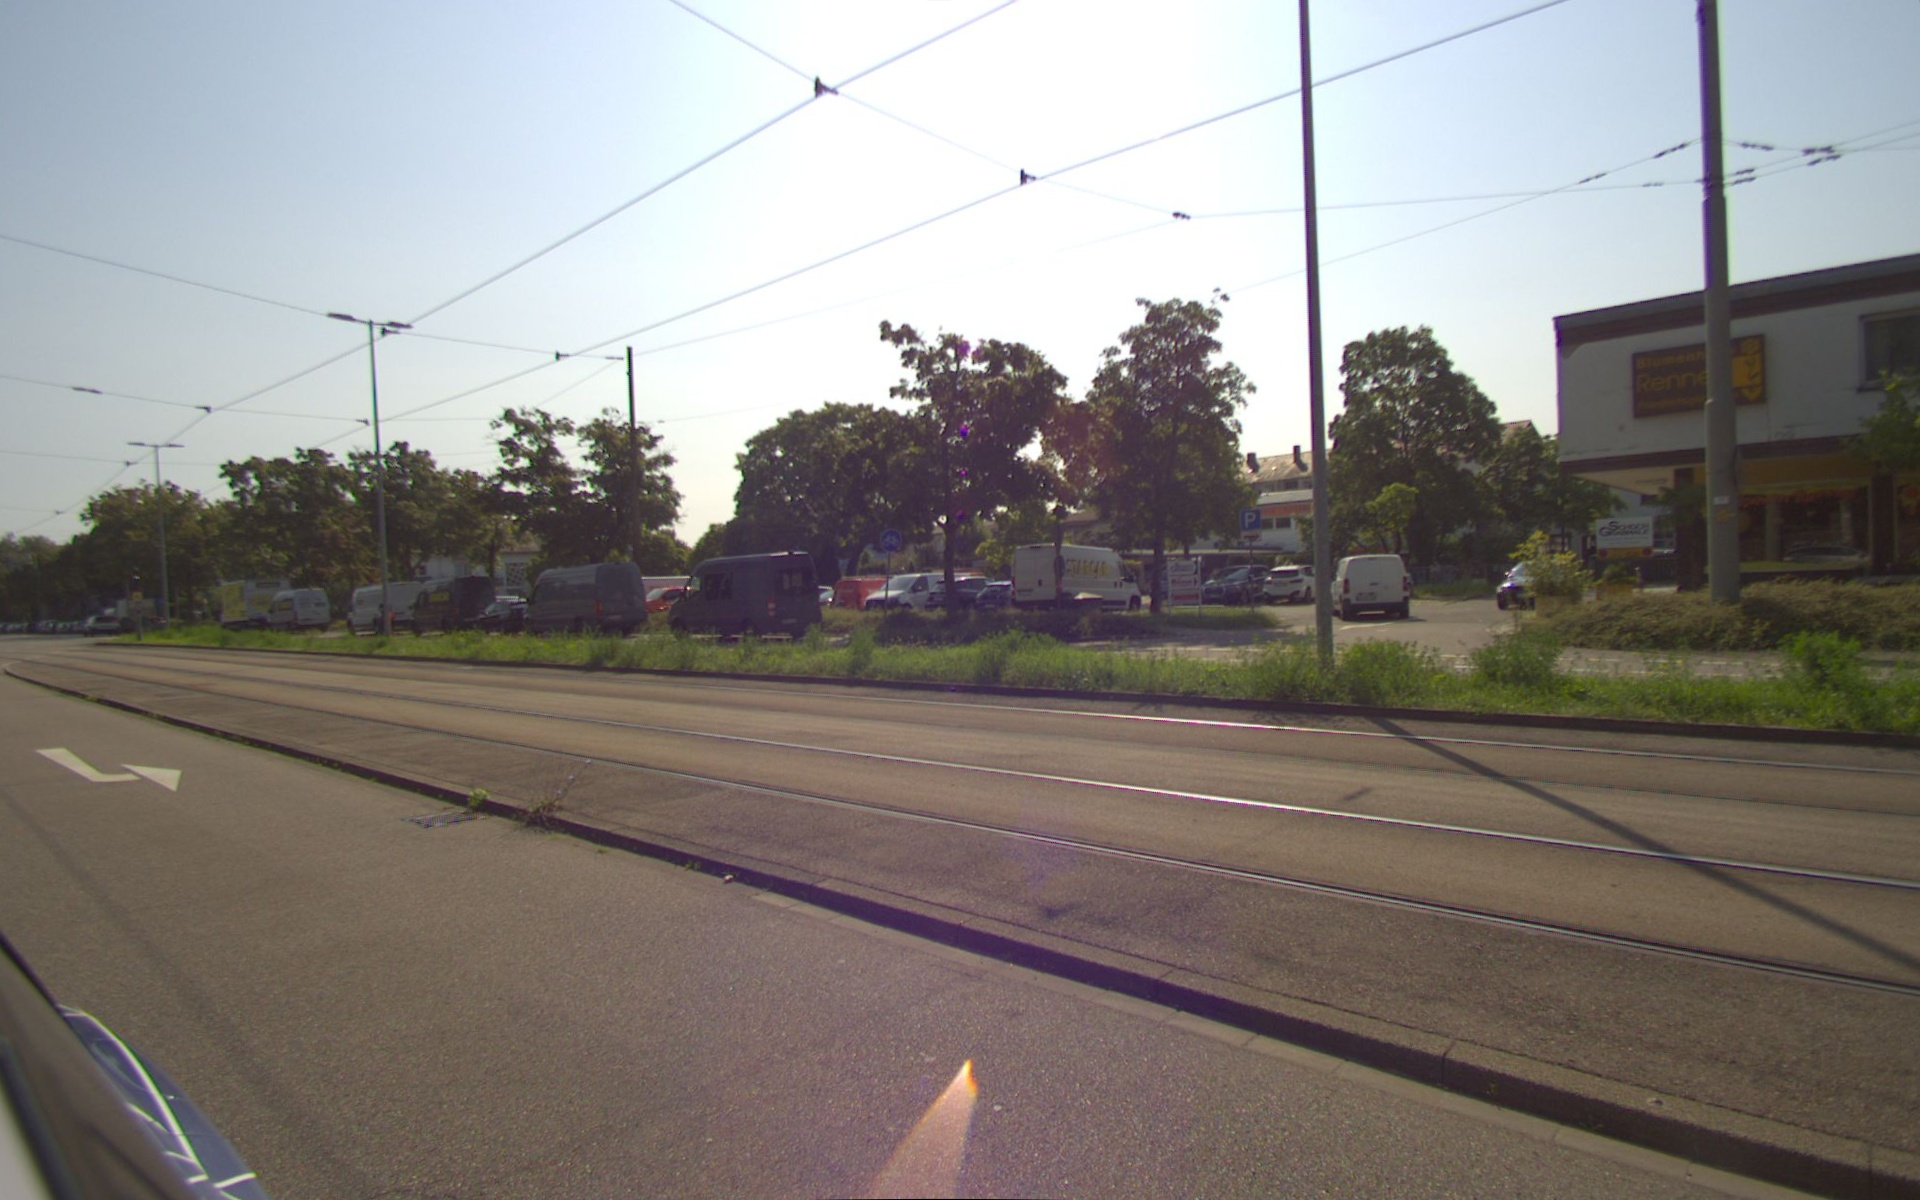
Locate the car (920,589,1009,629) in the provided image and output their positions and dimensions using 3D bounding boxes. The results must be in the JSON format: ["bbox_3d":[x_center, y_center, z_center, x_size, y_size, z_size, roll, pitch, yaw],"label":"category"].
[{"bbox_3d":[0.206,0.331,38.733,1.632,1.437,3.370,-1,0,40],"label":"car"}]

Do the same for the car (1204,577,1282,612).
[{"bbox_3d":[12.418,-0.238,44.310,3.661,1.353,1.493,-3,1,-41],"label":"car"}]

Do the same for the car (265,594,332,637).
[{"bbox_3d":[-40.008,0.947,61.153,4.829,2.477,2.121,-1,0,41],"label":"car"}]

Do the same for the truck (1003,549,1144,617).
[{"bbox_3d":[4.077,-0.582,35.569,2.258,2.189,5.433,-1,0,40],"label":"truck"}]

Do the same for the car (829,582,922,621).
[{"bbox_3d":[-3.507,0.053,42.653,1.632,1.530,3.883,-1,0,40],"label":"car"}]

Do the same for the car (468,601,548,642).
[{"bbox_3d":[-18.863,0.890,42.174,3.835,1.563,1.725,-1,2,44],"label":"car"}]

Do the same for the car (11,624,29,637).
[{"bbox_3d":[-134.904,4.419,145.262,3.644,1.781,1.530,-1,0,41],"label":"car"}]

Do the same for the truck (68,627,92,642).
[{"bbox_3d":[-101.484,3.993,116.748,3.655,1.687,1.669,-1,0,42],"label":"truck"}]

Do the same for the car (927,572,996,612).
[{"bbox_3d":[0.100,-0.496,57.823,1.802,2.113,3.948,-1,1,40],"label":"car"}]

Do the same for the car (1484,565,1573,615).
[{"bbox_3d":[17.274,-0.339,30.658,1.613,1.353,3.872,-2,1,40],"label":"car"}]

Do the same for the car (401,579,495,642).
[{"bbox_3d":[-23.368,0.509,46.066,5.910,2.605,1.803,-2,2,43],"label":"car"}]

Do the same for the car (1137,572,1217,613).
[{"bbox_3d":[10.097,-0.356,47.000,3.758,1.782,1.760,-1,0,-43],"label":"car"}]

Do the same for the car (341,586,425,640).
[{"bbox_3d":[-29.473,0.685,51.629,5.630,2.606,2.109,-1,0,43],"label":"car"}]

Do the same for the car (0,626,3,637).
[{"bbox_3d":[-148.579,4.831,155.849,3.454,1.596,1.530,-1,0,41],"label":"car"}]

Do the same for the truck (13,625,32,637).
[{"bbox_3d":[-130.489,4.301,140.845,3.655,1.687,1.669,-1,0,42],"label":"truck"}]

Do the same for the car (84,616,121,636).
[{"bbox_3d":[-69.343,2.085,81.815,3.950,1.531,1.903,-1,0,44],"label":"car"}]

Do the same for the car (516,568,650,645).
[{"bbox_3d":[-14.198,0.255,37.832,6.468,2.605,1.966,-1,2,44],"label":"car"}]

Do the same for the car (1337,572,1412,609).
[{"bbox_3d":[16.767,-0.388,40.897,3.491,1.353,1.492,-3,1,-44],"label":"car"}]

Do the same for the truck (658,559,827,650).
[{"bbox_3d":[-6.803,0.167,31.211,5.736,2.567,2.059,-1,0,41],"label":"truck"}]

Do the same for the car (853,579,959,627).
[{"bbox_3d":[-2.088,0.114,40.184,1.632,1.798,4.353,-1,0,40],"label":"car"}]

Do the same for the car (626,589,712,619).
[{"bbox_3d":[-15.203,0.196,52.941,1.857,1.462,3.945,-1,0,42],"label":"car"}]

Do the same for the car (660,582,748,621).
[{"bbox_3d":[-12.999,0.065,51.503,1.857,1.851,3.945,-1,0,42],"label":"car"}]

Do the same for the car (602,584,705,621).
[{"bbox_3d":[-16.854,0.096,55.795,2.051,1.940,5.132,-1,0,40],"label":"car"}]

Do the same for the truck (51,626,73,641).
[{"bbox_3d":[-109.097,4.062,122.942,3.655,1.687,1.669,-1,0,42],"label":"truck"}]

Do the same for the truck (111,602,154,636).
[{"bbox_3d":[-79.142,1.824,96.730,8.790,3.145,2.247,-1,0,45],"label":"truck"}]

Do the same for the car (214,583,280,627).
[{"bbox_3d":[-47.507,0.380,67.349,7.230,2.826,2.102,-1,0,43],"label":"car"}]

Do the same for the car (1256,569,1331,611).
[{"bbox_3d":[14.162,-0.435,42.863,1.875,1.513,3.413,-2,2,39],"label":"car"}]

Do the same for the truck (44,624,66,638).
[{"bbox_3d":[-114.693,3.937,128.245,3.655,1.687,1.669,-1,0,42],"label":"truck"}]

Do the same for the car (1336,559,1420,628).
[{"bbox_3d":[12.288,-0.228,29.592,1.979,1.771,4.382,-3,0,25],"label":"car"}]

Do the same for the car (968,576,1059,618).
[{"bbox_3d":[1.989,-0.115,37.029,1.632,1.437,3.370,-1,0,40],"label":"car"}]
